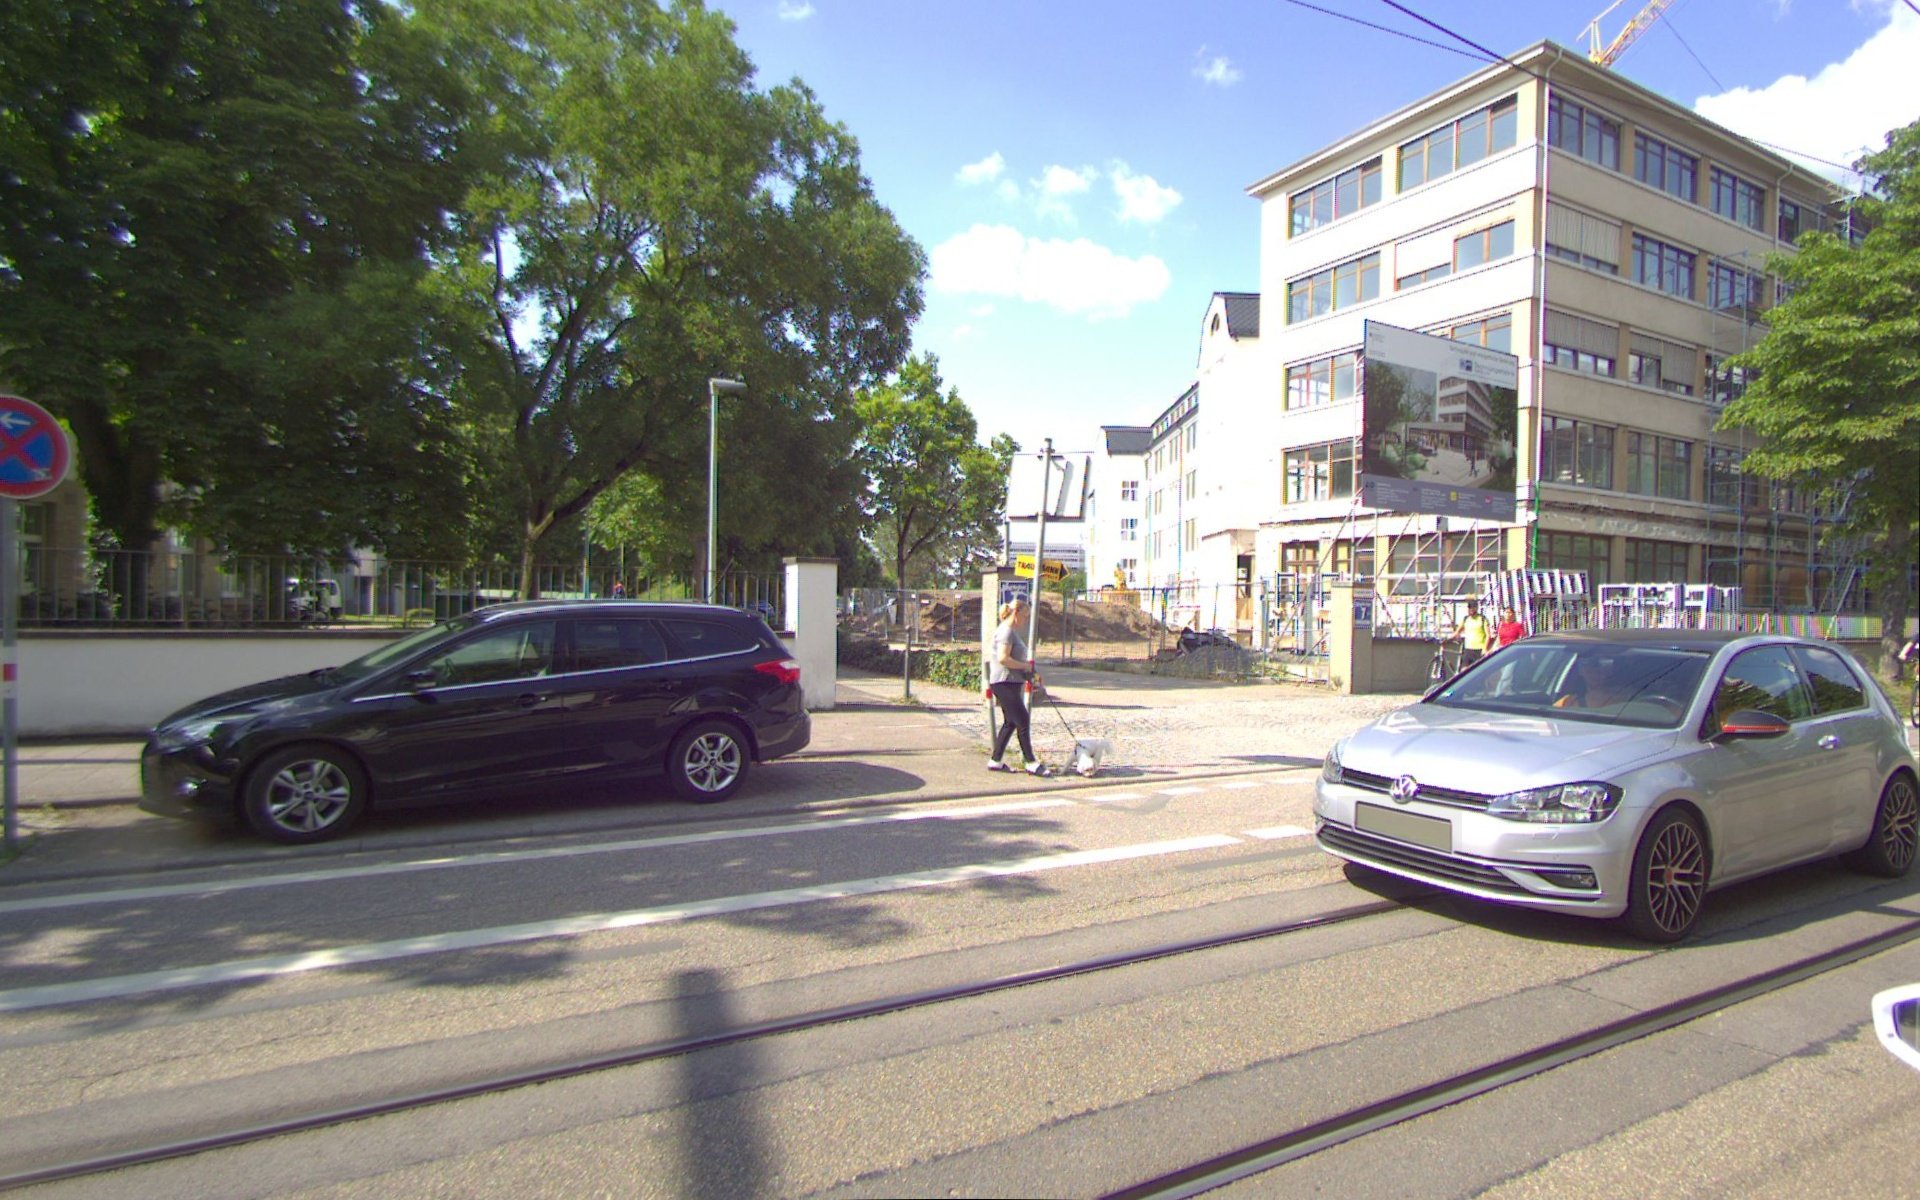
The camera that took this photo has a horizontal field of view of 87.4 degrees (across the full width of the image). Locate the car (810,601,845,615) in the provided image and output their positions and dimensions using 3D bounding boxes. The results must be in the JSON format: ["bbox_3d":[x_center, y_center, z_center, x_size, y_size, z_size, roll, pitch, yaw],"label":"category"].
[{"bbox_3d":[-14.525,0.883,110.082,3.594,1.509,1.786,1,0,1],"label":"car"}]

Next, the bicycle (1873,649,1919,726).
[{"bbox_3d":[15.383,1.374,16.030,1.921,1.181,0.641,1,-3,-31],"label":"bicycle"}]

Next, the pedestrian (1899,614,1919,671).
[{"bbox_3d":[27.994,1.250,29.240,0.587,1.642,0.761,1,1,-29],"label":"pedestrian"}]

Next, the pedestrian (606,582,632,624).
[{"bbox_3d":[-13.456,0.107,39.670,0.751,1.642,0.594,1,0,10],"label":"pedestrian"}]

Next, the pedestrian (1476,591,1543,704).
[{"bbox_3d":[9.460,0.790,17.312,0.655,1.857,0.703,-1,4,-34],"label":"pedestrian"}]

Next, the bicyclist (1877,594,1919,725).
[{"bbox_3d":[15.384,0.949,16.033,0.824,2.040,0.872,2,-3,-30],"label":"bicyclist"}]

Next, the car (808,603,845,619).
[{"bbox_3d":[-13.642,1.142,102.696,3.595,1.509,1.785,1,0,-3],"label":"car"}]

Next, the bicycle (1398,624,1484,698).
[{"bbox_3d":[8.785,1.102,18.326,1.716,1.303,0.444,1,0,-27],"label":"bicycle"}]

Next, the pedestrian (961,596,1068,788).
[{"bbox_3d":[0.509,0.805,9.266,0.714,1.659,0.691,2,1,27],"label":"pedestrian"}]

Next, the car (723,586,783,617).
[{"bbox_3d":[-14.549,0.092,70.747,3.925,2.040,1.998,1,0,-7],"label":"car"}]

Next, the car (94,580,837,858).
[{"bbox_3d":[-3.379,0.709,7.589,4.542,1.536,1.739,2,1,-33],"label":"car"}]

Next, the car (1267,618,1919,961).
[{"bbox_3d":[3.840,0.853,5.927,3.806,1.435,1.765,2,-2,-29],"label":"car"}]

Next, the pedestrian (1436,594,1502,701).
[{"bbox_3d":[9.054,0.837,17.875,0.655,1.817,0.703,1,3,-34],"label":"pedestrian"}]
